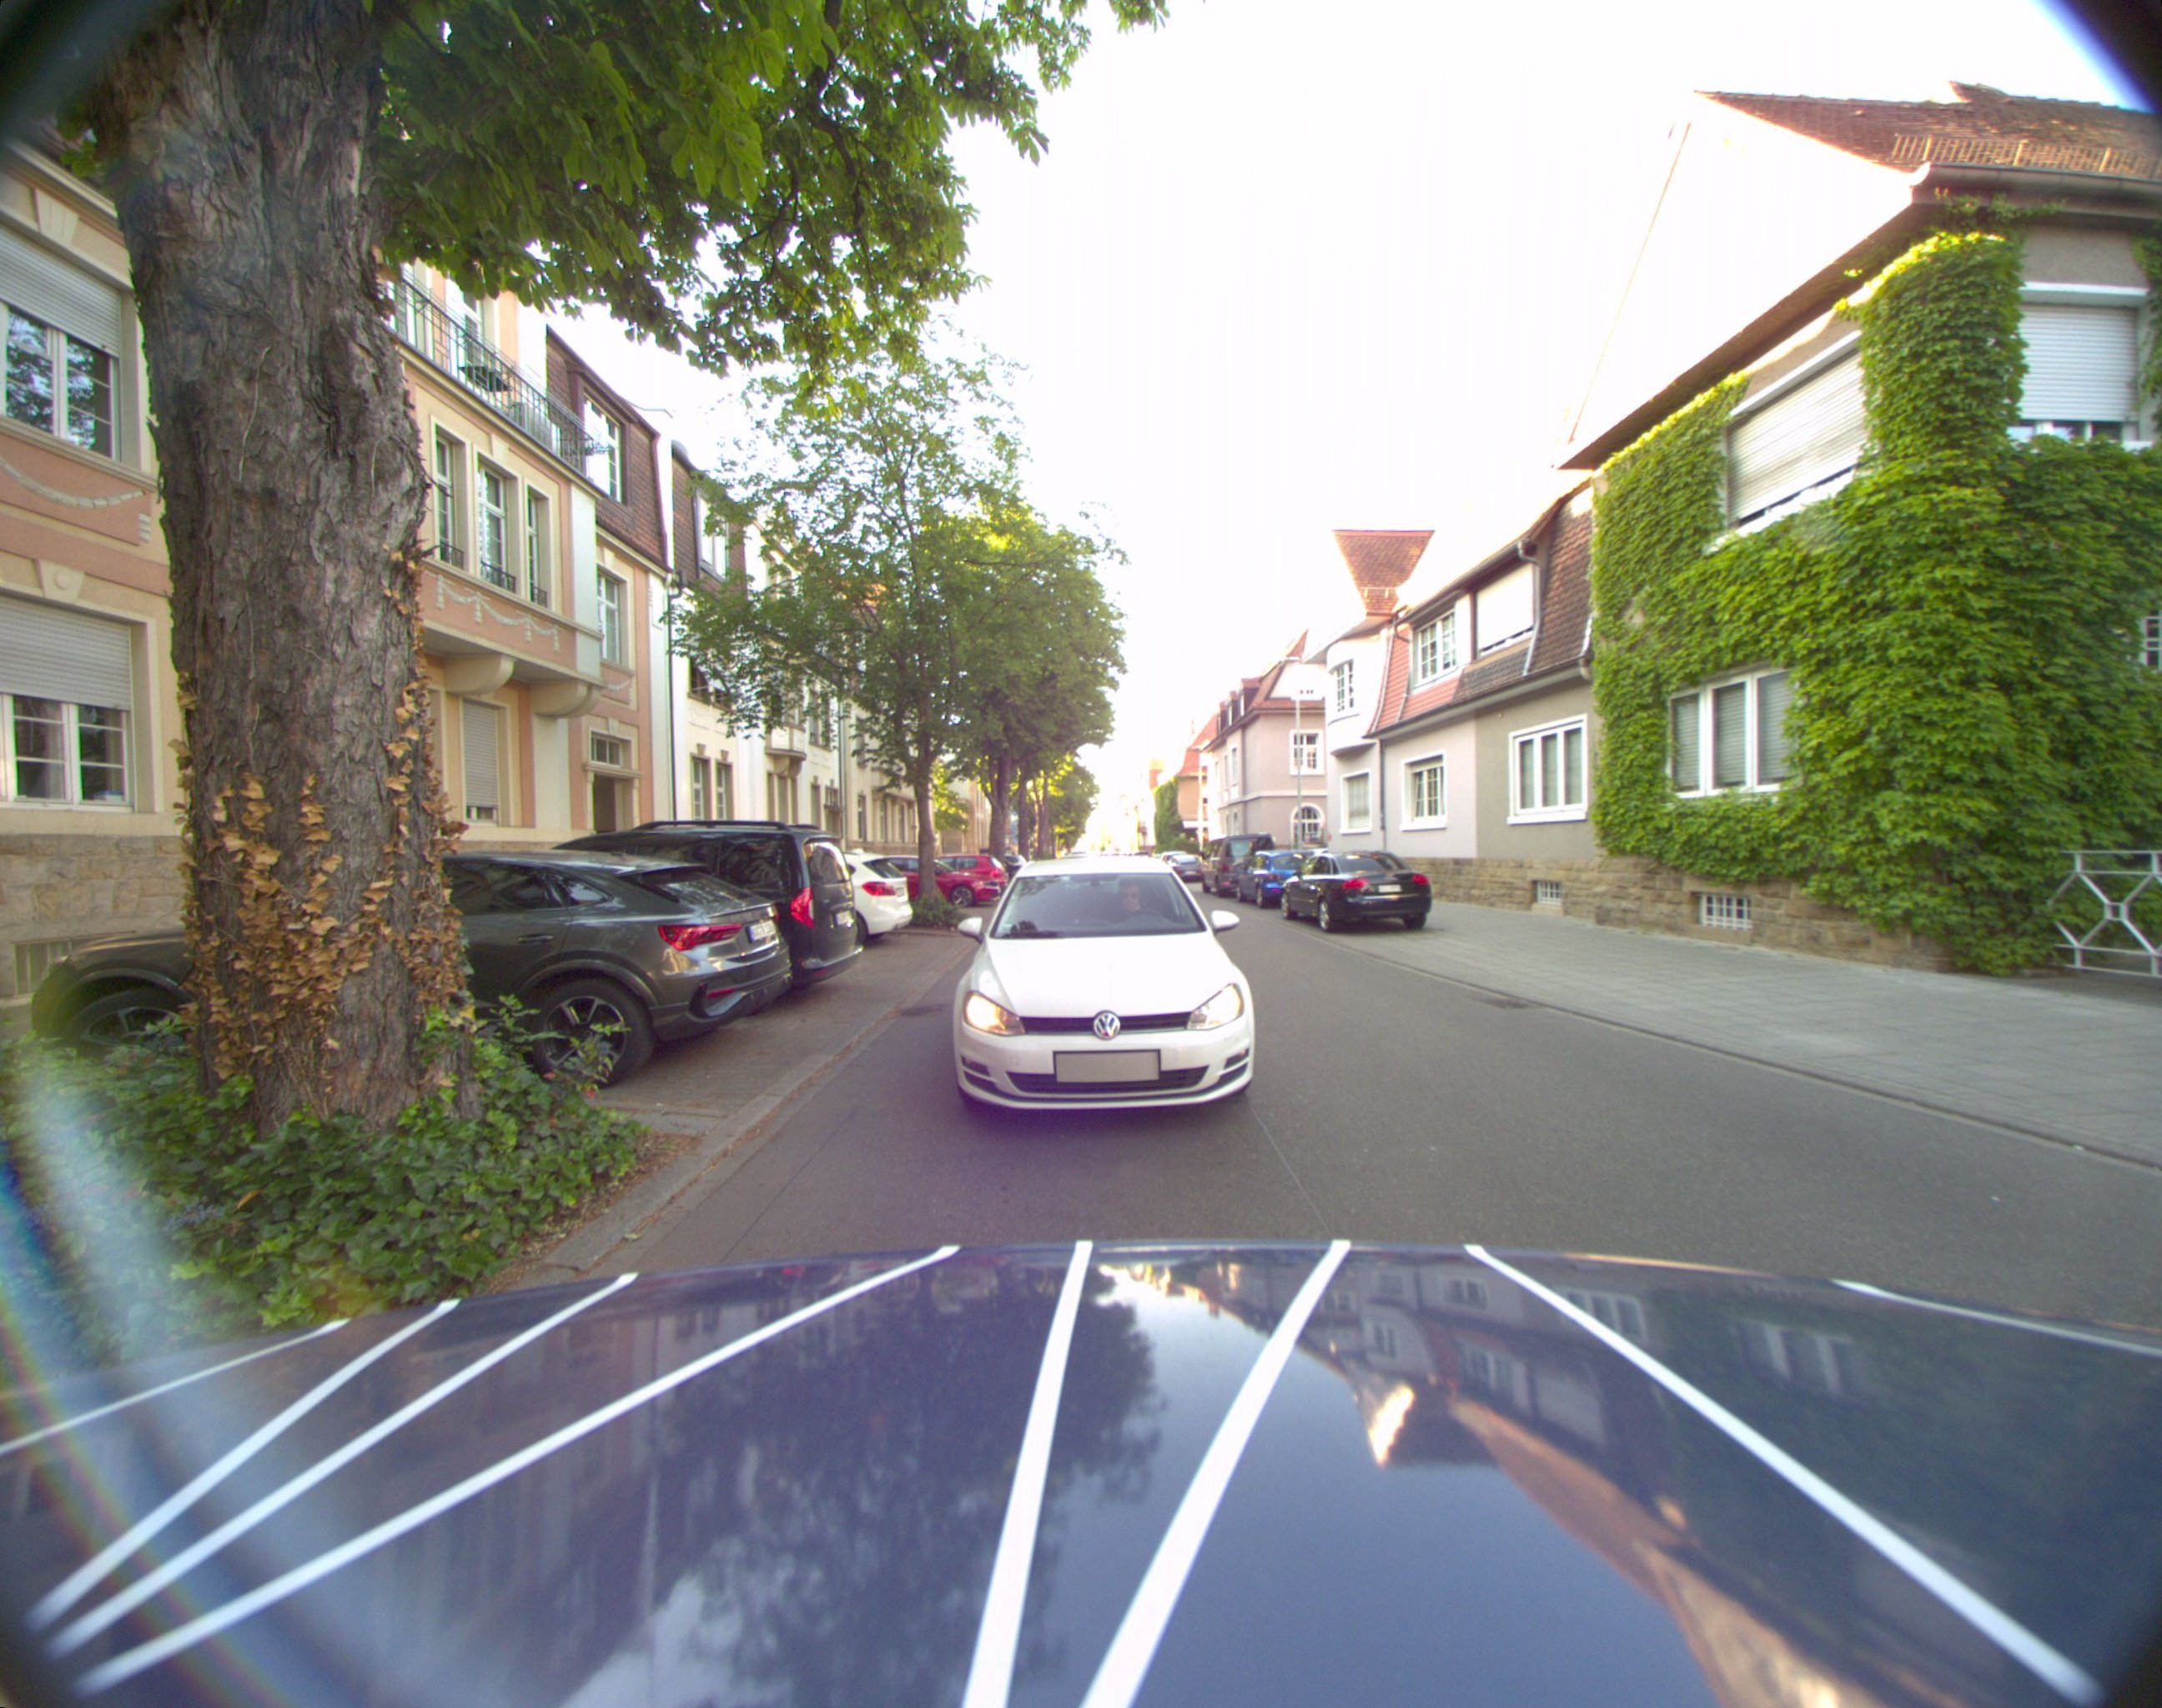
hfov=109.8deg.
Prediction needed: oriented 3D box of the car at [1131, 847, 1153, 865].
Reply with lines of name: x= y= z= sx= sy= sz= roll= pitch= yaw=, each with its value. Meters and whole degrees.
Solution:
car: x=5.429 y=0.154 z=68.002 sx=1.699 sy=1.558 sz=3.677 roll=-3 pitch=1 yaw=2

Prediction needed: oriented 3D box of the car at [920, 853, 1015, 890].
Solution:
car: x=-4.672 y=0.710 z=31.706 sx=3.680 sy=1.457 sz=1.576 roll=0 pitch=1 yaw=2

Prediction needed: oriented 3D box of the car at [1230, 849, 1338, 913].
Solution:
car: x=5.286 y=0.647 z=20.338 sx=1.768 sy=1.438 sz=4.062 roll=-3 pitch=1 yaw=0

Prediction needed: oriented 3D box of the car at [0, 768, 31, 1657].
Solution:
car: x=-4.589 y=0.768 z=0.517 sx=4.763 sy=1.864 sz=1.896 roll=0 pitch=1 yaw=-4

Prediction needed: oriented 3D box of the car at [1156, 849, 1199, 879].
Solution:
car: x=5.290 y=0.507 z=42.139 sx=1.932 sy=1.458 sz=4.062 roll=-3 pitch=1 yaw=2

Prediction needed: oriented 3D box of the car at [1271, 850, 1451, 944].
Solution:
car: x=5.147 y=0.698 z=14.673 sx=1.806 sy=1.438 sz=4.428 roll=-3 pitch=1 yaw=0

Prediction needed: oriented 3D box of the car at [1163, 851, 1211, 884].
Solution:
car: x=5.067 y=0.597 z=36.663 sx=1.932 sy=1.376 sz=4.063 roll=-3 pitch=1 yaw=4

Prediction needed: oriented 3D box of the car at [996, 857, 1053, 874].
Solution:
car: x=-3.510 y=0.724 z=47.638 sx=3.399 sy=1.057 sz=1.542 roll=0 pitch=1 yaw=2

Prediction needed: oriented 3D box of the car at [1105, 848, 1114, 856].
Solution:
car: x=5.585 y=-0.467 z=149.115 sx=1.699 sy=1.520 sz=3.677 roll=-3 pitch=1 yaw=2

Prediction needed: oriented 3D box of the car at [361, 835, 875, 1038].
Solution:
car: x=-4.432 y=0.736 z=7.827 sx=4.121 sy=1.827 sz=1.844 roll=0 pitch=1 yaw=-2

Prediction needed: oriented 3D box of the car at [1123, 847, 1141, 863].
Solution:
car: x=5.444 y=0.064 z=80.759 sx=1.699 sy=1.520 sz=3.677 roll=-3 pitch=1 yaw=2

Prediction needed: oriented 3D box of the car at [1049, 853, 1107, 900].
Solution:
car: x=-0.049 y=0.715 z=26.402 sx=1.819 sy=1.454 sz=4.072 roll=-2 pitch=0 yaw=1

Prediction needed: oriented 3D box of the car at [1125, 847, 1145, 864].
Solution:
car: x=5.343 y=0.122 z=75.267 sx=1.699 sy=1.520 sz=3.677 roll=-3 pitch=1 yaw=2

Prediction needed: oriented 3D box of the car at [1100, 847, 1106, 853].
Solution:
car: x=5.859 y=-0.987 z=202.665 sx=1.699 sy=1.520 sz=3.677 roll=-3 pitch=1 yaw=2

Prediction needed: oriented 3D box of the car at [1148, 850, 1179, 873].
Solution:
car: x=5.446 y=0.475 z=50.379 sx=1.662 sy=1.354 sz=3.677 roll=-3 pitch=1 yaw=2

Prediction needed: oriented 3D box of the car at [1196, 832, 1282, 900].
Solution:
car: x=5.151 y=0.356 z=25.349 sx=1.842 sy=1.964 sz=4.612 roll=-3 pitch=1 yaw=0

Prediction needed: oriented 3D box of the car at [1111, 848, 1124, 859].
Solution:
car: x=5.560 y=-0.136 z=115.858 sx=1.699 sy=1.520 sz=3.677 roll=-3 pitch=1 yaw=2

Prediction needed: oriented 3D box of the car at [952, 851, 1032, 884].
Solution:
car: x=-4.275 y=0.623 z=36.835 sx=3.680 sy=1.548 sz=1.576 roll=0 pitch=1 yaw=2

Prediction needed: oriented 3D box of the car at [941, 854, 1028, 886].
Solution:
car: x=-4.308 y=0.714 z=34.322 sx=3.680 sy=1.390 sz=1.576 roll=0 pitch=1 yaw=2

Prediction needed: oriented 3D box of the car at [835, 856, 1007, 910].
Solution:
car: x=-4.529 y=0.799 z=21.934 sx=4.530 sy=1.443 sz=1.868 roll=0 pitch=1 yaw=3

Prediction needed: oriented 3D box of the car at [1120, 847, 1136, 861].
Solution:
car: x=5.573 y=-0.042 z=91.005 sx=1.699 sy=1.520 sz=3.677 roll=-3 pitch=1 yaw=2

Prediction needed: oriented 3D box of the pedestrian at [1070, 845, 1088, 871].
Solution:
pedestrian: x=-0.127 y=0.314 z=58.286 sx=1.276 sy=1.927 sz=1.186 roll=-3 pitch=1 yaw=-1

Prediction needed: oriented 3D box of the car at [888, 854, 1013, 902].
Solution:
car: x=-4.134 y=0.750 z=24.462 sx=3.680 sy=1.473 sz=1.659 roll=0 pitch=1 yaw=3

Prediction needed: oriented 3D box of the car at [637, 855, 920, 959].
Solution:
car: x=-4.826 y=0.815 z=12.528 sx=3.950 sy=1.568 sz=1.719 roll=0 pitch=1 yaw=0

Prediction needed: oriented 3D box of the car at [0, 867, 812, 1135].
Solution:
car: x=-4.534 y=0.883 z=5.503 sx=4.522 sy=1.514 sz=1.844 roll=0 pitch=1 yaw=-4

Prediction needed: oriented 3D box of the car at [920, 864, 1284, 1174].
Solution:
car: x=0.145 y=0.881 z=5.936 sx=1.819 sy=1.454 sz=4.072 roll=-2 pitch=0 yaw=1

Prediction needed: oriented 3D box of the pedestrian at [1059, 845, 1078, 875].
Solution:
pedestrian: x=-0.836 y=0.383 z=50.246 sx=1.119 sy=1.927 sz=1.097 roll=-3 pitch=1 yaw=-1

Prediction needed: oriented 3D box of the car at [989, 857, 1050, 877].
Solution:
car: x=-3.559 y=0.731 z=44.432 sx=3.399 sy=1.143 sz=1.542 roll=0 pitch=1 yaw=2
